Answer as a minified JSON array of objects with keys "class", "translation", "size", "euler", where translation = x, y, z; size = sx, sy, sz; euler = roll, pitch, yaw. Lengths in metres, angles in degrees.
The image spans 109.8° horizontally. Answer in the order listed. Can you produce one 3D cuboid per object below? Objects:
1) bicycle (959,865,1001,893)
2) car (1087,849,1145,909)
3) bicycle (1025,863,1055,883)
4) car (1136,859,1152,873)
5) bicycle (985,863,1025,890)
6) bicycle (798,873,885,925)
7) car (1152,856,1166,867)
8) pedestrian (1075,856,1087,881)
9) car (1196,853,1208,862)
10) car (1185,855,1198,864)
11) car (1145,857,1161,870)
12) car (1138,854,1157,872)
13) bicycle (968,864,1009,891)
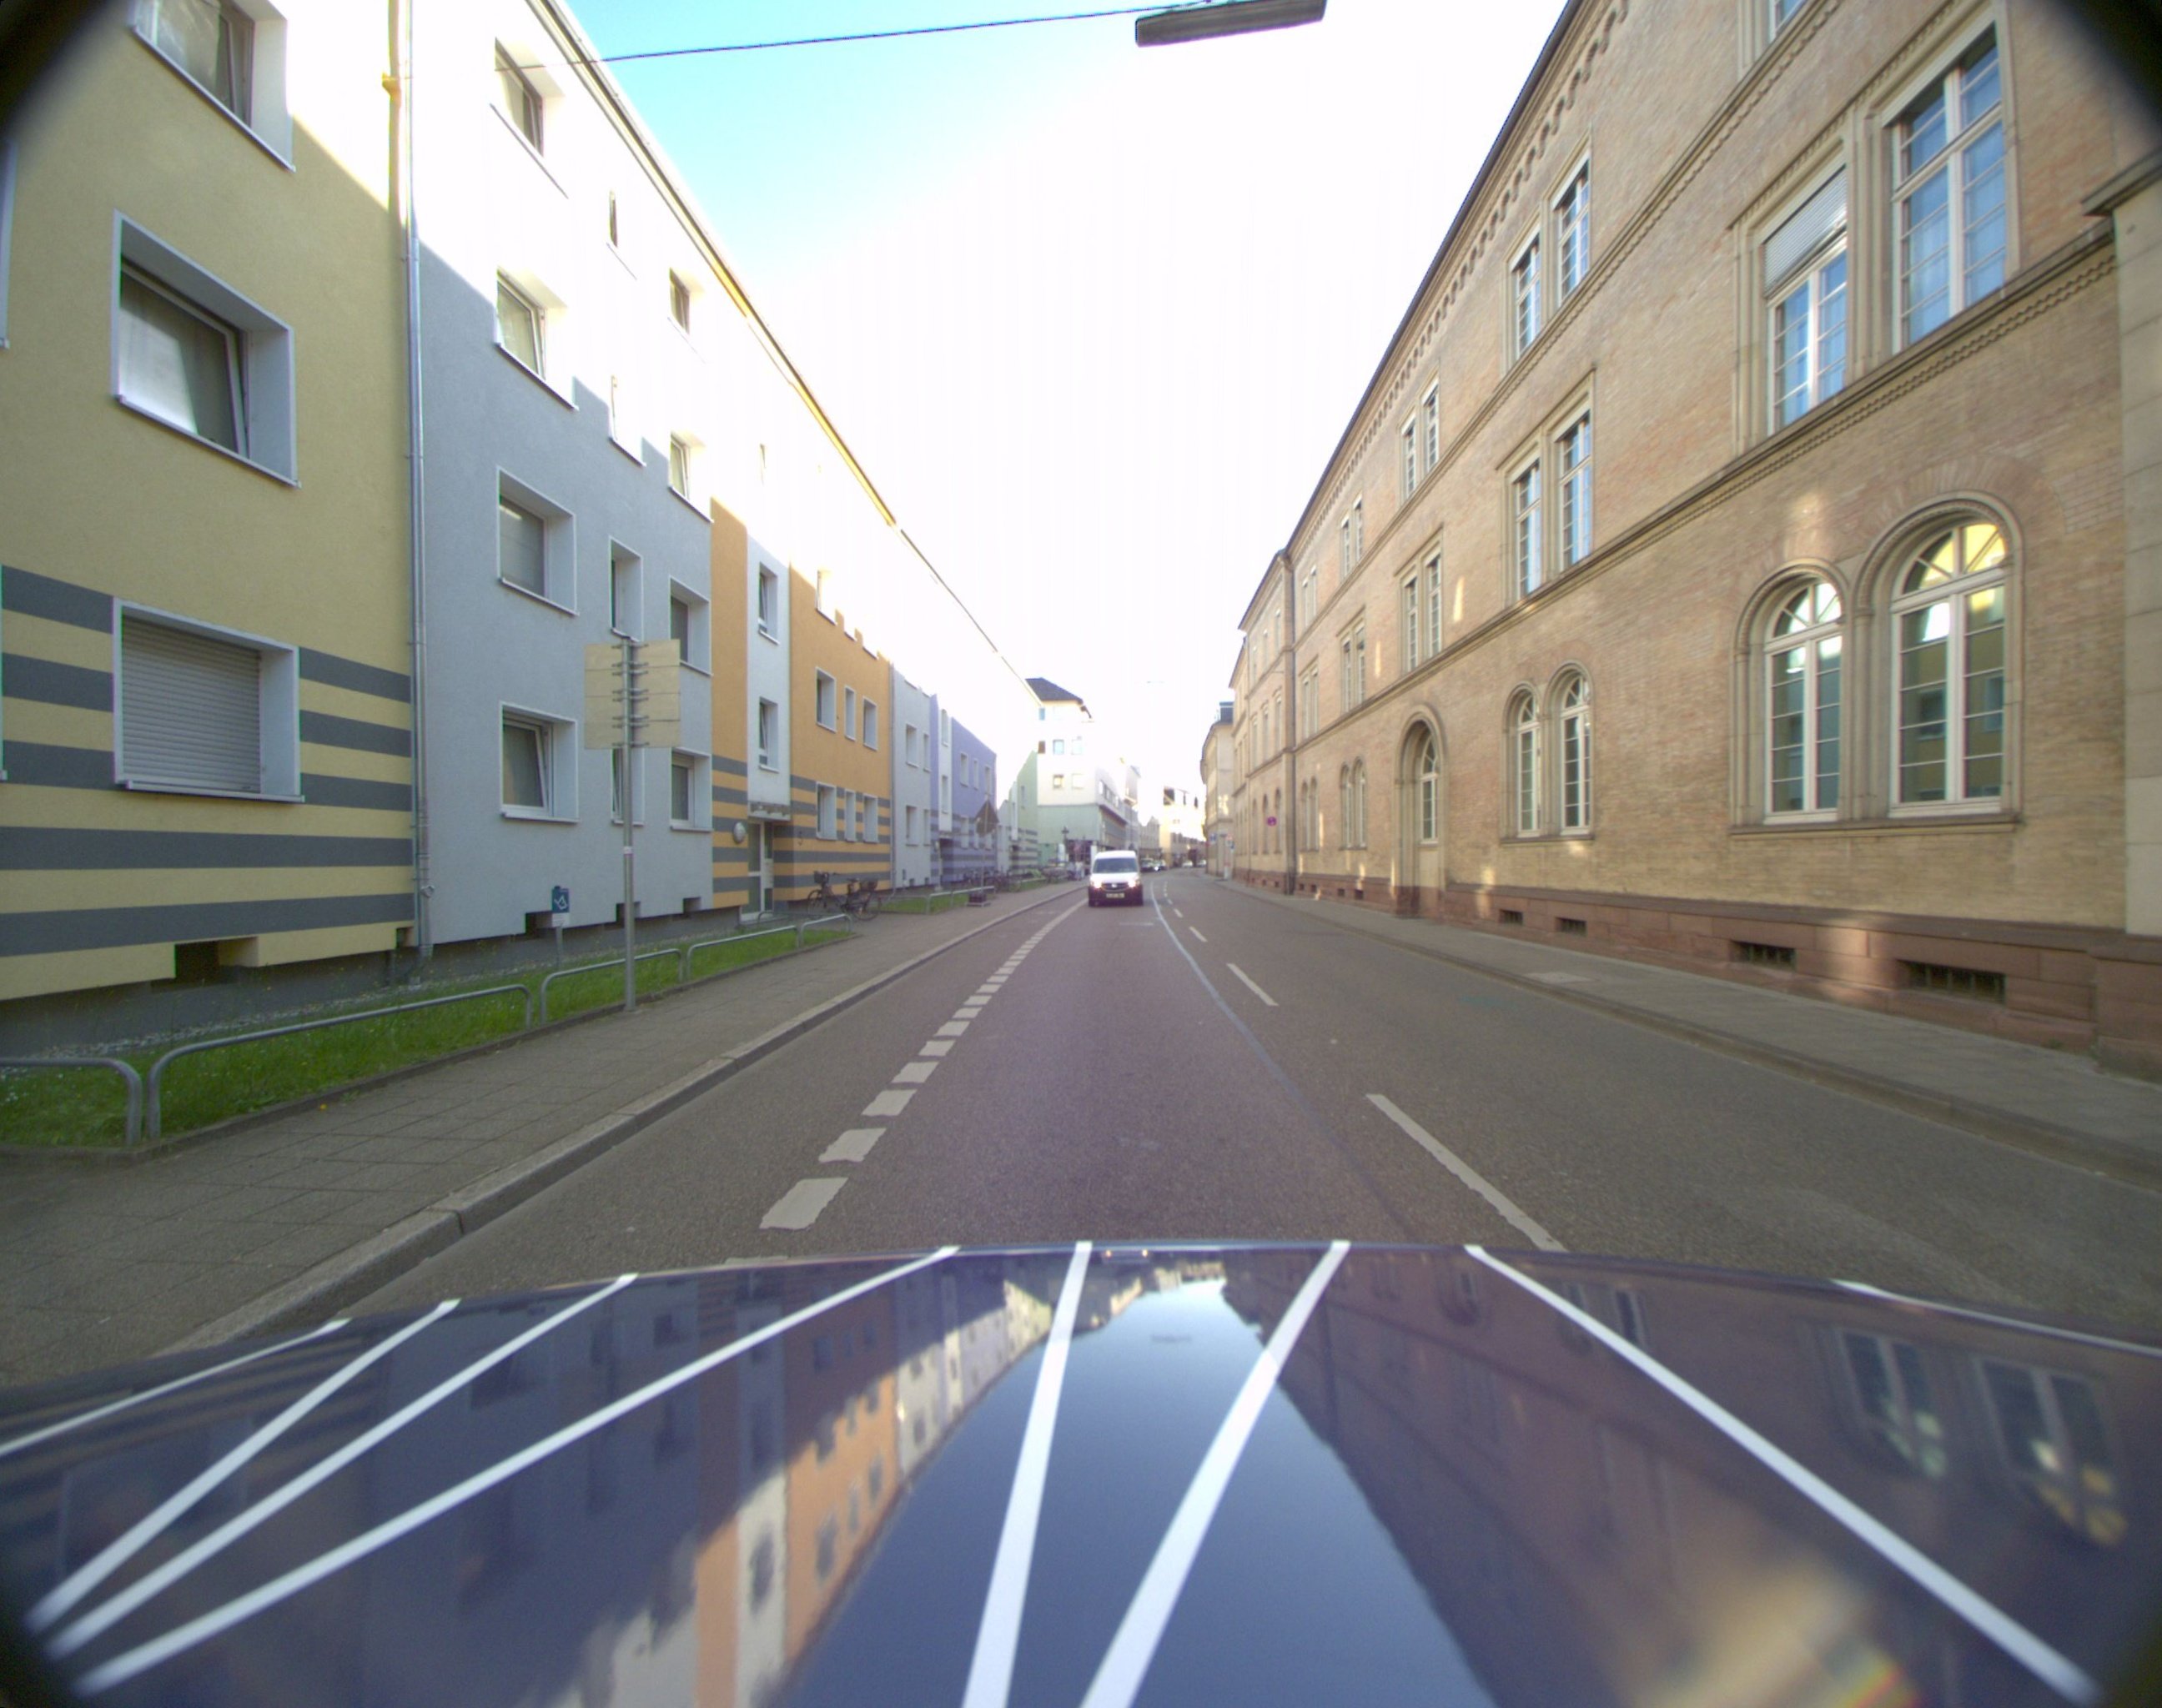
[{"class":"bicycle","translation":[-4.226,1.038,31.844],"size":[1.676,1.145,0.484],"euler":[0,0,4]},{"class":"car","translation":[1.207,0.742,25.791],"size":[1.769,1.761,5.332],"euler":[-1,1,3]},{"class":"bicycle","translation":[-2.505,1.141,46.055],"size":[1.779,1.145,0.484],"euler":[0,0,0]},{"class":"car","translation":[8.396,1.575,100.955],"size":[1.998,1.643,4.230],"euler":[-2,1,6]},{"class":"bicycle","translation":[-3.363,0.993,33.684],"size":[1.676,1.145,0.484],"euler":[0,0,4]},{"class":"bicycle","translation":[-5.377,1.008,17.108],"size":[1.780,1.116,0.484],"euler":[0,0,-5]},{"class":"car","translation":[12.667,1.161,122.702],"size":[1.997,1.643,4.231],"euler":[-2,1,9]},{"class":"pedestrian","translation":[0.016,0.942,50.585],"size":[0.705,1.627,0.833],"euler":[2,2,5]},{"class":"car","translation":[26.116,0.757,163.753],"size":[1.996,1.643,4.233],"euler":[-2,1,17]},{"class":"car","translation":[22.132,1.045,152.023],"size":[1.996,1.643,4.233],"euler":[-2,1,17]},{"class":"car","translation":[10.695,1.406,113.003],"size":[1.997,1.643,4.231],"euler":[-2,1,10]},{"class":"car","translation":[9.431,1.215,107.091],"size":[2.103,2.264,5.506],"euler":[-2,1,11]},{"class":"bicycle","translation":[-4.022,1.011,33.138],"size":[1.676,1.145,0.484],"euler":[0,0,4]}]
